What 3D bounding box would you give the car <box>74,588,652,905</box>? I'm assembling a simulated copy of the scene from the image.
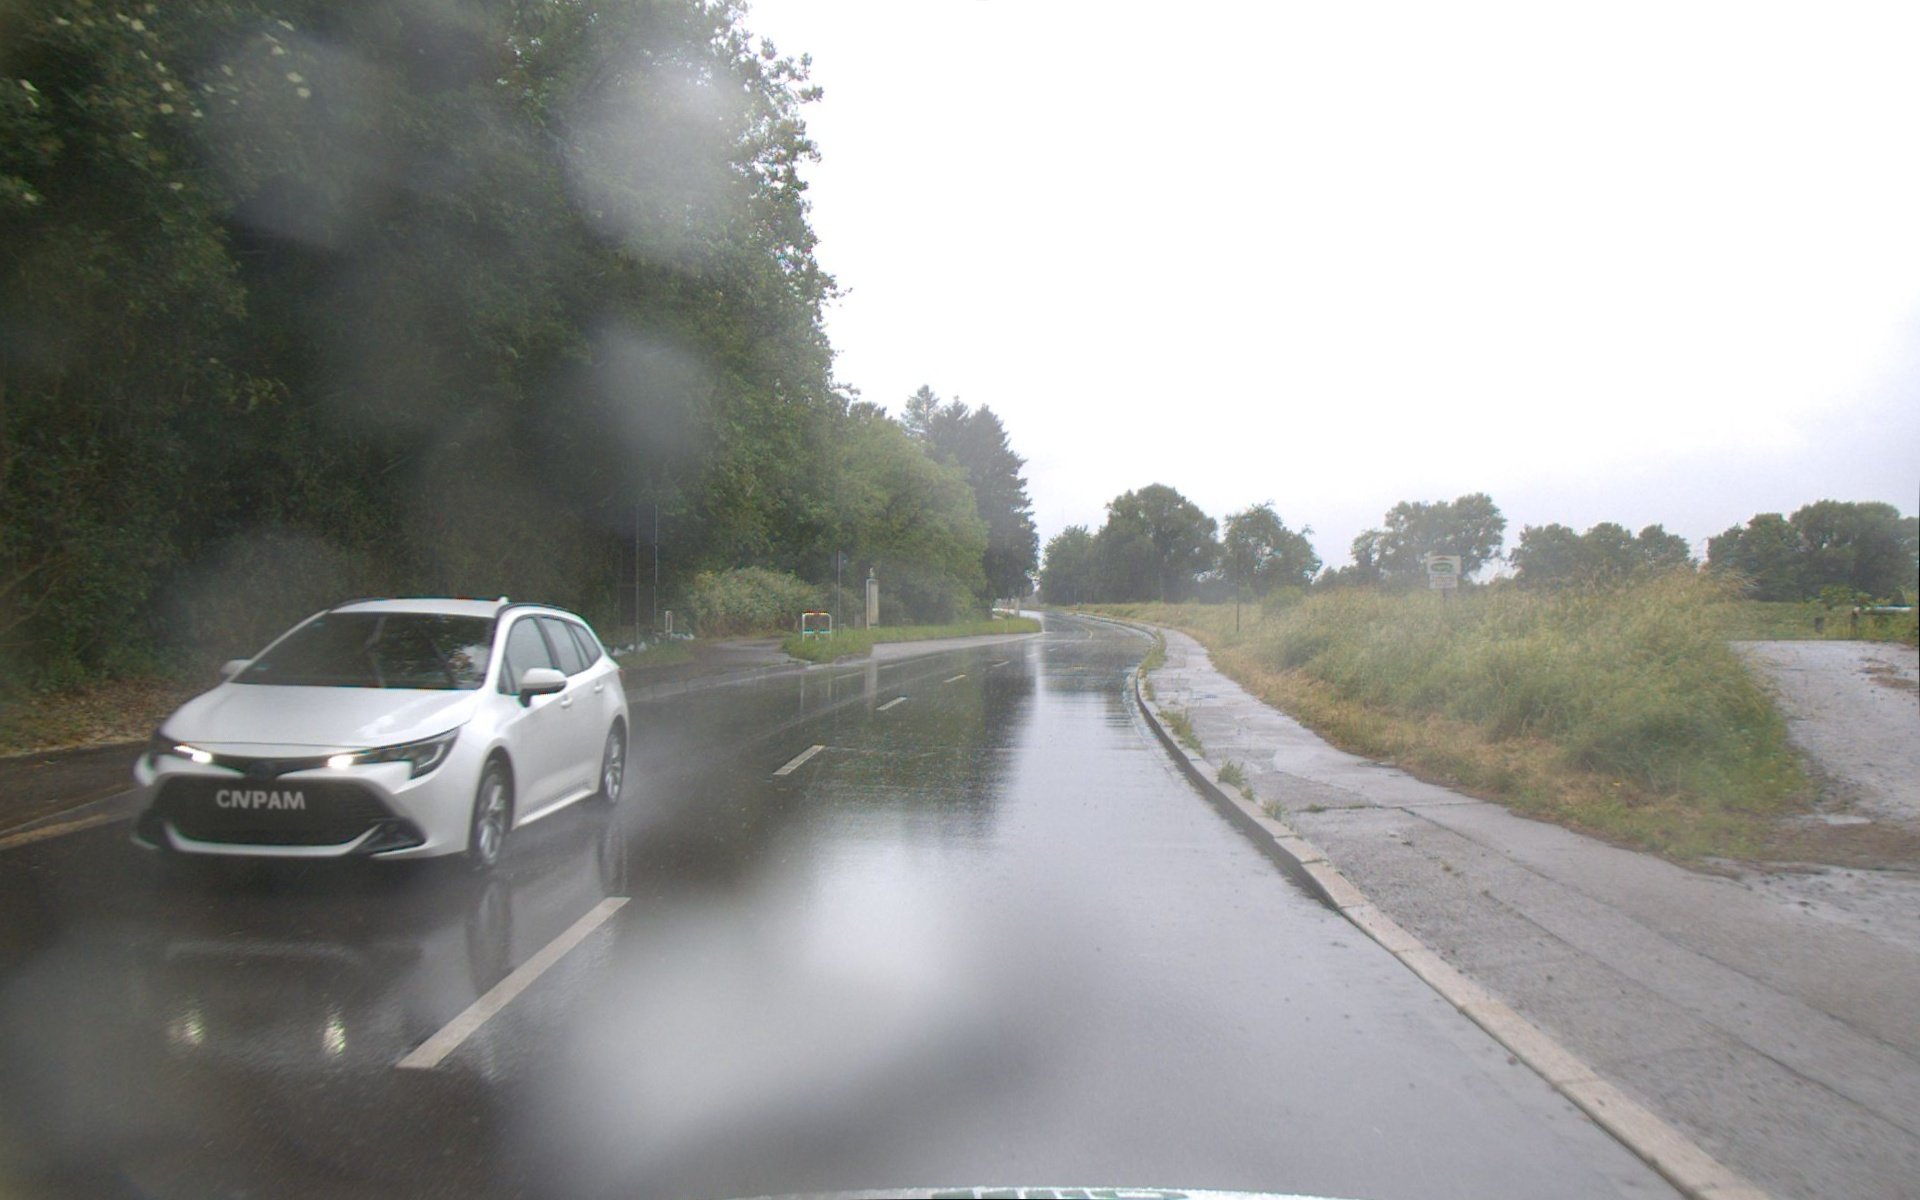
[{"bbox_3d":[-3.208,0.673,10.012,1.749,1.443,4.634,1,0,1],"label":"car"}]
